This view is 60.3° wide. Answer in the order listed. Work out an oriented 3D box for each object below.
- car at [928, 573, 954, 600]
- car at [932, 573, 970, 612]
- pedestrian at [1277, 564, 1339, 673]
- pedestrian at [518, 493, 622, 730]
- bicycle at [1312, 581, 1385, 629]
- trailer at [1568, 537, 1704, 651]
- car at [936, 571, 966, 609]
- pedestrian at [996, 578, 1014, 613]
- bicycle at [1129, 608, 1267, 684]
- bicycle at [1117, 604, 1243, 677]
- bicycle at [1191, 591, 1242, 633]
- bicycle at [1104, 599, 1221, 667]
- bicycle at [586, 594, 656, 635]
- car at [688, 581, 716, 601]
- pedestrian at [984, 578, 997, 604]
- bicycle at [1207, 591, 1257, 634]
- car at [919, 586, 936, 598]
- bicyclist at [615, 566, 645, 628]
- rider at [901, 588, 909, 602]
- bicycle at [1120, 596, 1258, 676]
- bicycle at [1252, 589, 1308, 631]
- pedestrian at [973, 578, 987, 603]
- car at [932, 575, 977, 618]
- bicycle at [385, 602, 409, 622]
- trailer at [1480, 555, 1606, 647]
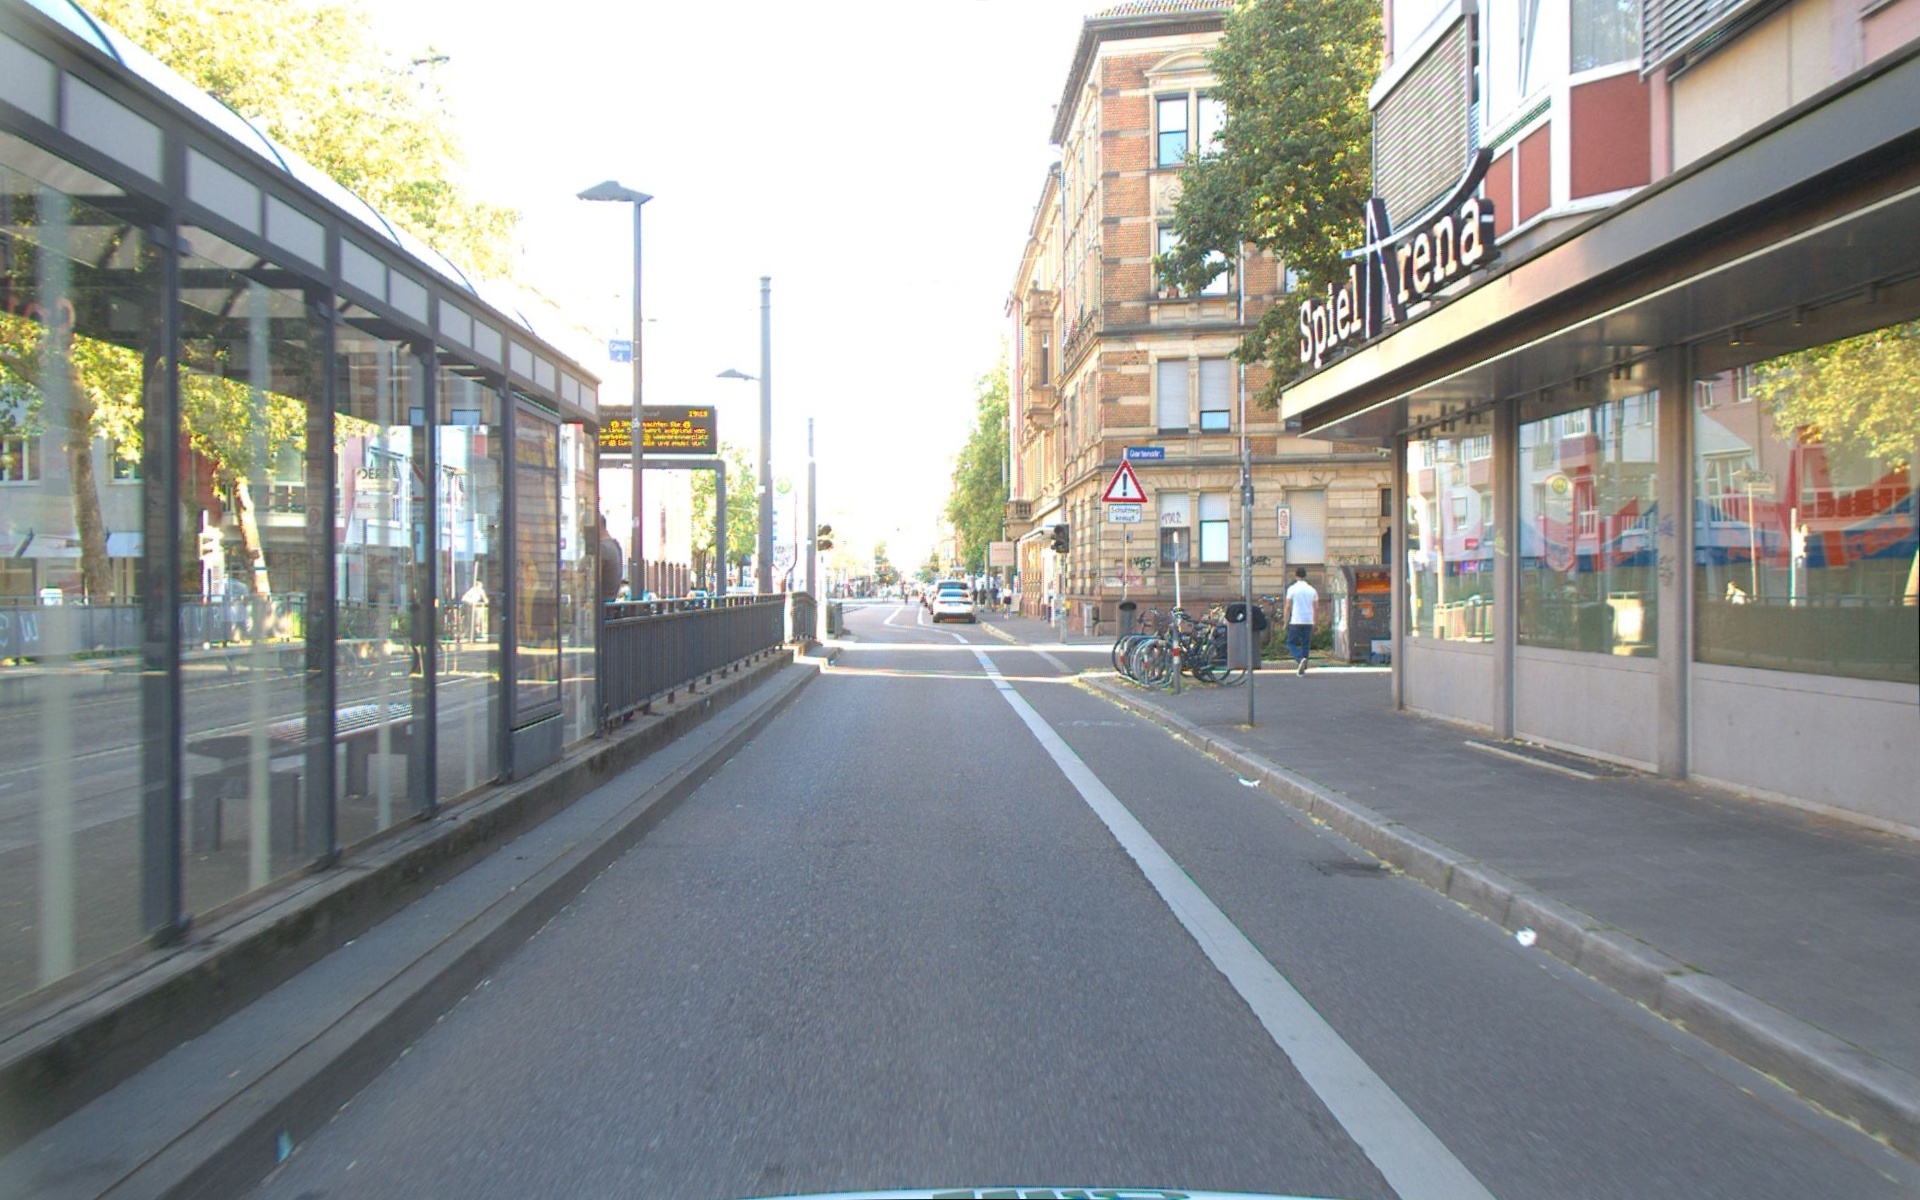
[{"bbox_3d":[-1.518,-1.057,131.944,1.931,2.049,4.557,-2,0,-1],"label":"car"},{"bbox_3d":[-0.465,-0.402,86.210,1.915,1.901,4.988,1,0,0],"label":"car"},{"bbox_3d":[5.566,0.277,26.536,0.767,1.694,1.033,0,2,-1],"label":"pedestrian"},{"bbox_3d":[-2.962,0.077,12.617,0.609,1.742,0.849,0,0,-2],"label":"pedestrian"},{"bbox_3d":[9.963,0.116,42.494,0.606,1.203,2.088,0,1,-27],"label":"bicycle"},{"bbox_3d":[12.273,-0.106,30.187,1.541,1.917,3.188,-2,0,9],"label":"trailer"},{"bbox_3d":[-0.508,-0.588,96.936,1.670,2.157,3.707,0,0,1],"label":"car"},{"bbox_3d":[2.150,-0.219,78.357,0.760,1.594,0.914,-4,0,1],"label":"pedestrian"},{"bbox_3d":[3.416,0.652,23.839,1.875,1.066,0.680,0,0,-5],"label":"bicycle"},{"bbox_3d":[3.350,0.607,25.224,1.798,1.072,0.717,0,0,-5],"label":"bicycle"},{"bbox_3d":[6.543,0.293,42.297,0.444,1.042,1.896,0,1,-20],"label":"bicycle"},{"bbox_3d":[3.283,0.525,26.896,1.798,1.072,0.710,0,0,-5],"label":"bicycle"},{"bbox_3d":[-9.656,0.414,47.129,1.854,1.096,0.584,2,0,0],"label":"bicycle"},{"bbox_3d":[-20.442,-0.727,131.327,1.832,1.628,4.250,0,1,-4],"label":"car"},{"bbox_3d":[1.936,-0.581,105.596,0.760,1.594,0.913,-4,0,0],"label":"pedestrian"},{"bbox_3d":[6.945,0.309,42.308,0.411,1.042,1.896,0,1,-20],"label":"bicycle"},{"bbox_3d":[-4.106,-0.970,210.224,2.024,1.413,4.224,2,0,-2],"label":"car"},{"bbox_3d":[-9.393,-0.093,47.101,0.728,1.742,0.534,0,0,1],"label":"bicyclist"},{"bbox_3d":[-5.963,-0.555,179.910,0.865,1.507,0.713,1,0,-1],"label":"rider"},{"bbox_3d":[3.379,0.525,24.495,1.931,1.124,0.614,-1,1,-5],"label":"bicycle"},{"bbox_3d":[8.199,0.236,42.431,0.489,1.042,1.895,0,1,-22],"label":"bicycle"},{"bbox_3d":[1.288,-0.606,105.583,0.760,1.594,0.913,-4,0,0],"label":"pedestrian"},{"bbox_3d":[-0.269,-0.163,74.206,1.926,1.802,4.874,1,0,-1],"label":"car"},{"bbox_3d":[-20.812,0.436,61.169,0.447,0.670,1.807,2,0,-7],"label":"bicycle"},{"bbox_3d":[11.990,0.019,34.240,1.924,1.762,3.936,-1,0,12],"label":"trailer"}]
